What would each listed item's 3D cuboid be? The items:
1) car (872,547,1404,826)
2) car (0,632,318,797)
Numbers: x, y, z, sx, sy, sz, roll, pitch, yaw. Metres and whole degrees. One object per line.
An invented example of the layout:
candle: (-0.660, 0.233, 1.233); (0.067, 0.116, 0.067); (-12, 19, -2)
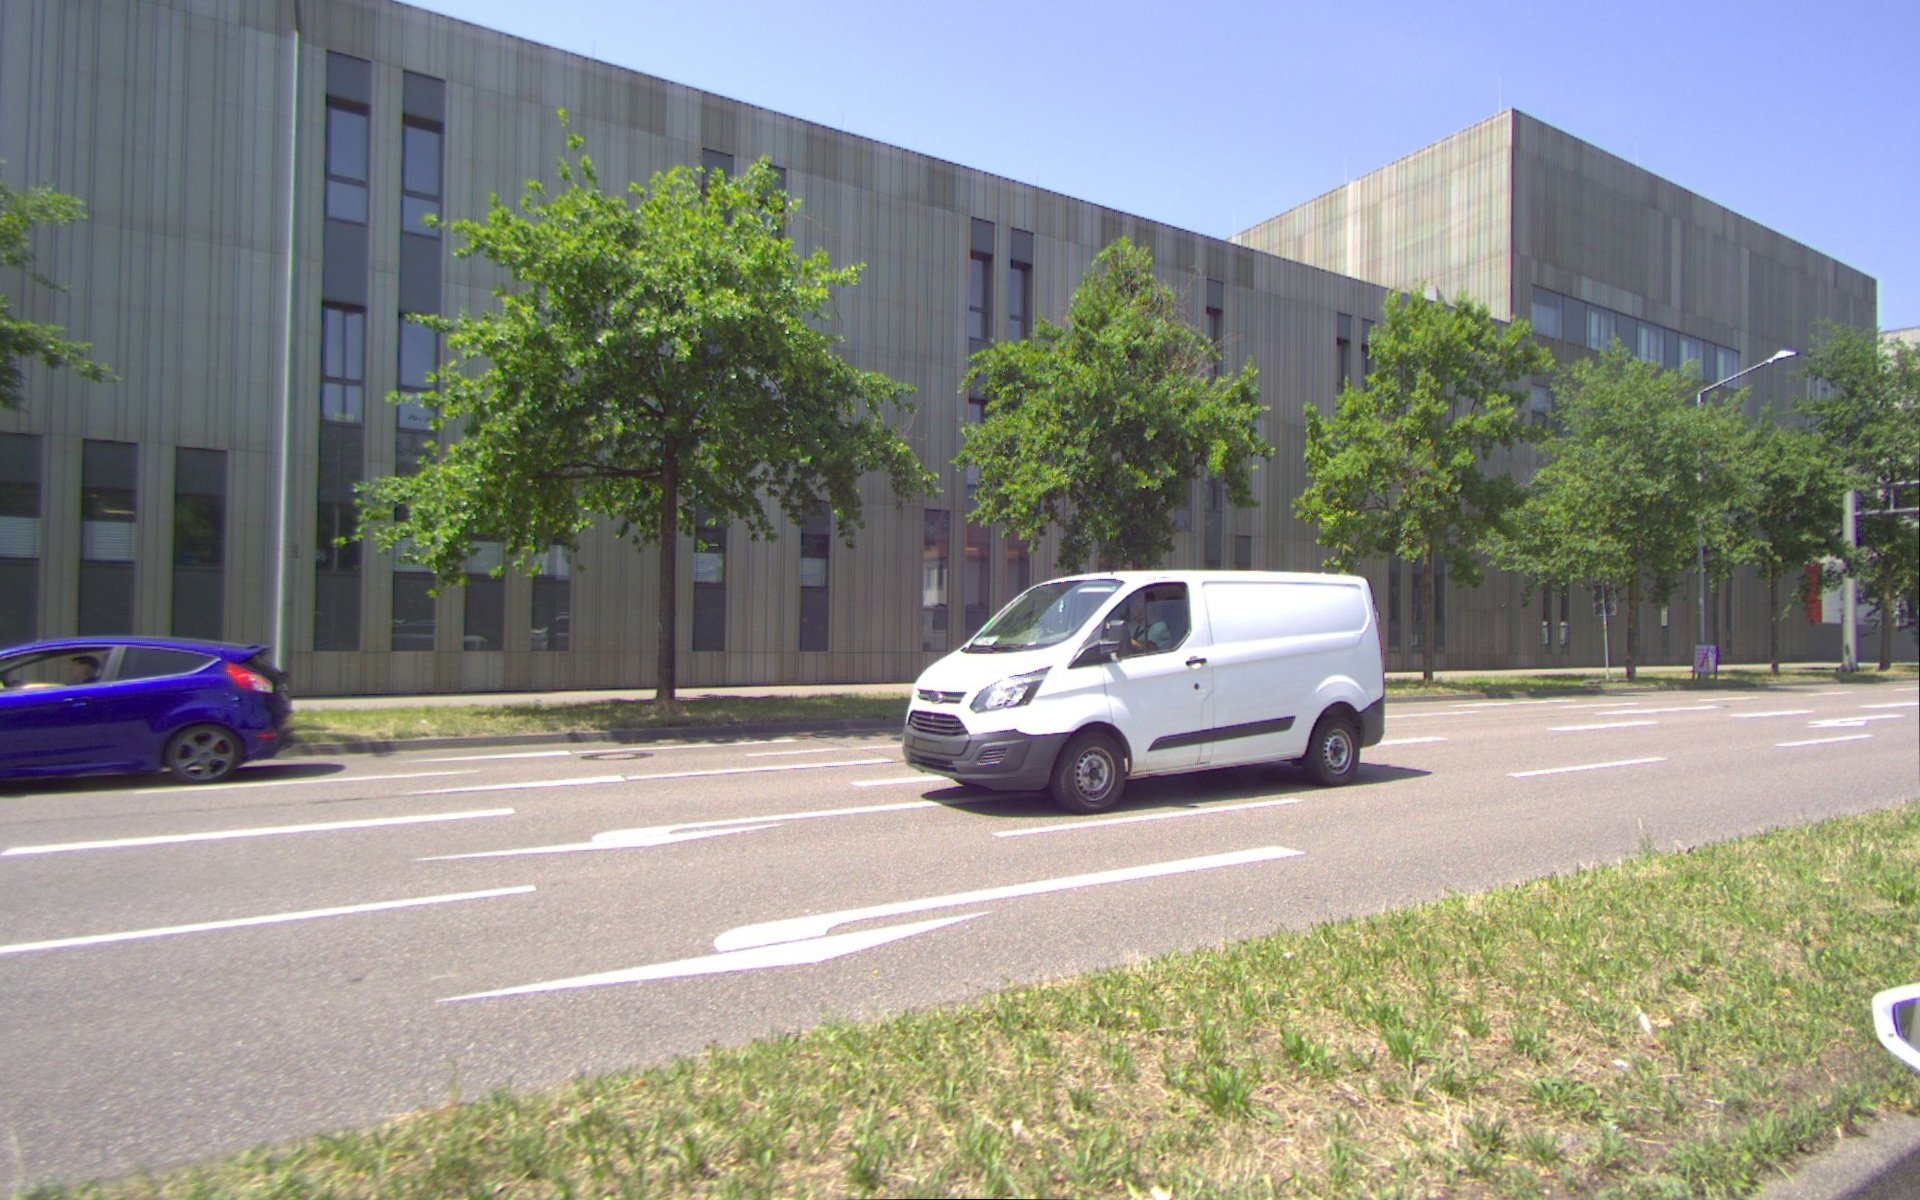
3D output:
car: (1.770, 0.714, 9.357); (4.842, 2.019, 1.900); (1, -3, -31)
car: (-8.721, 1.059, 9.866); (3.971, 1.475, 1.613); (1, -3, -31)
